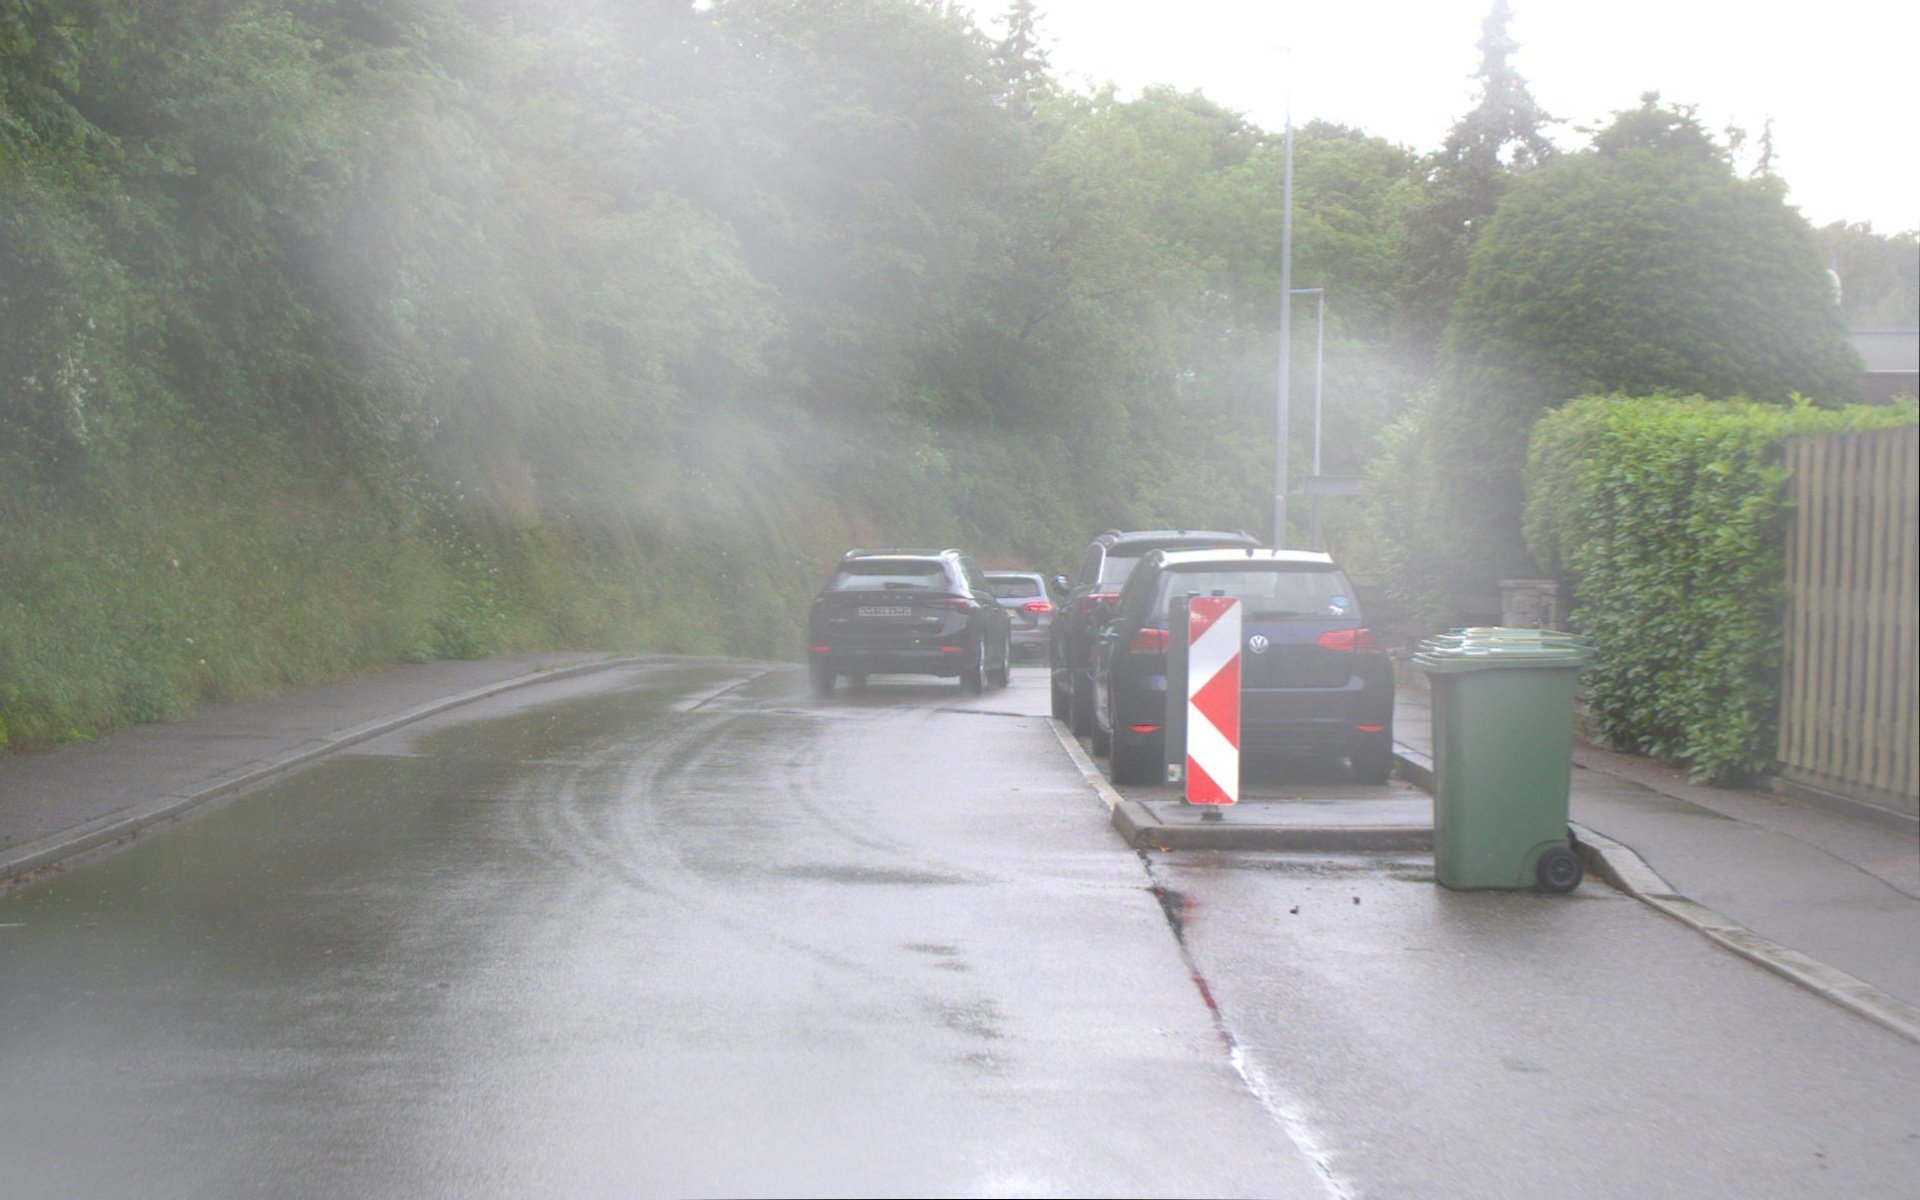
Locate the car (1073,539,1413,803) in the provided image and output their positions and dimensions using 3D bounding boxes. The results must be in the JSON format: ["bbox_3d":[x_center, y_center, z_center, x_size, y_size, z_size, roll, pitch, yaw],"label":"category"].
[{"bbox_3d":[1.721,0.377,22.212,1.755,1.457,4.301,1,2,-1],"label":"car"}]

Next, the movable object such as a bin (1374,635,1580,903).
[{"bbox_3d":[2.218,0.716,14.810,0.715,1.092,0.656,1,1,-5],"label":"movable object such as a bin"}]

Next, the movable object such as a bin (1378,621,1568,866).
[{"bbox_3d":[2.372,0.655,15.957,0.729,1.075,0.661,1,1,-2],"label":"movable object such as a bin"}]

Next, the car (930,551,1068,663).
[{"bbox_3d":[0.666,0.070,54.503,1.994,1.600,4.409,2,2,3],"label":"car"}]

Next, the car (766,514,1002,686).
[{"bbox_3d":[-0.714,0.051,35.371,1.869,1.507,4.091,3,-2,6],"label":"car"}]

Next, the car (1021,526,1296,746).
[{"bbox_3d":[1.512,0.221,27.745,1.875,1.586,4.480,1,1,-1],"label":"car"}]
